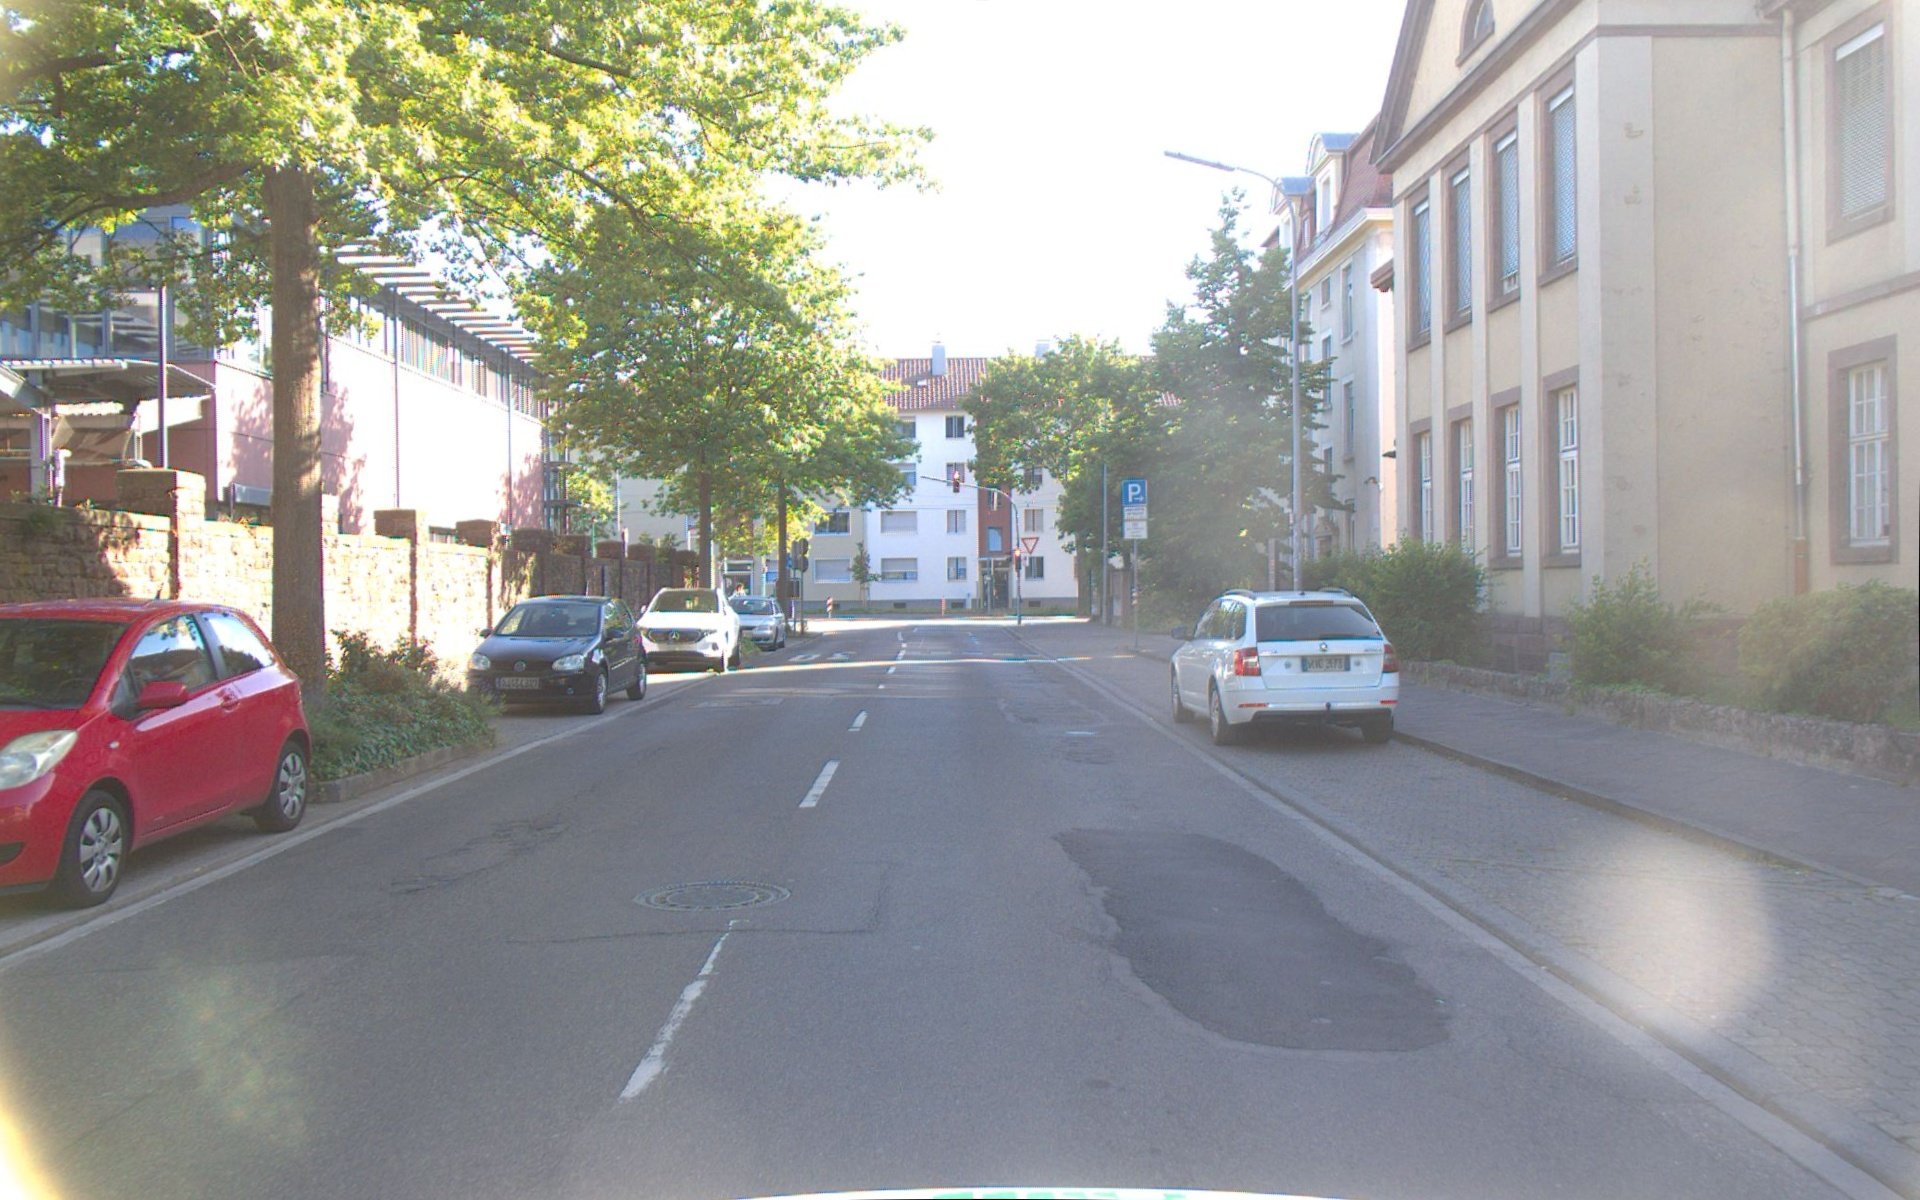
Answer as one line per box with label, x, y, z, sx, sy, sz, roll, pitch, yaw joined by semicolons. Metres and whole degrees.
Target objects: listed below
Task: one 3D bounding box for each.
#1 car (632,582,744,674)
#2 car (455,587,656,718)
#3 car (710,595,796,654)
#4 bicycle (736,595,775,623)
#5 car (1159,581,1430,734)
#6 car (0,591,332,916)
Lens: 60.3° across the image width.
car;-5.434;0.507;33.456;1.685;1.713;4.349;-1;0;-2
car;-5.412;0.637;22.636;1.701;1.620;4.107;0;0;0
car;-5.621;0.630;45.380;1.690;1.501;4.479;1;0;1
bicycle;-8.148;0.338;65.986;1.675;1.099;0.346;0;0;-43
car;3.317;0.509;17.293;1.795;1.346;4.495;-1;0;-2
car;-5.118;0.707;9.548;1.576;1.484;3.708;1;0;-1
